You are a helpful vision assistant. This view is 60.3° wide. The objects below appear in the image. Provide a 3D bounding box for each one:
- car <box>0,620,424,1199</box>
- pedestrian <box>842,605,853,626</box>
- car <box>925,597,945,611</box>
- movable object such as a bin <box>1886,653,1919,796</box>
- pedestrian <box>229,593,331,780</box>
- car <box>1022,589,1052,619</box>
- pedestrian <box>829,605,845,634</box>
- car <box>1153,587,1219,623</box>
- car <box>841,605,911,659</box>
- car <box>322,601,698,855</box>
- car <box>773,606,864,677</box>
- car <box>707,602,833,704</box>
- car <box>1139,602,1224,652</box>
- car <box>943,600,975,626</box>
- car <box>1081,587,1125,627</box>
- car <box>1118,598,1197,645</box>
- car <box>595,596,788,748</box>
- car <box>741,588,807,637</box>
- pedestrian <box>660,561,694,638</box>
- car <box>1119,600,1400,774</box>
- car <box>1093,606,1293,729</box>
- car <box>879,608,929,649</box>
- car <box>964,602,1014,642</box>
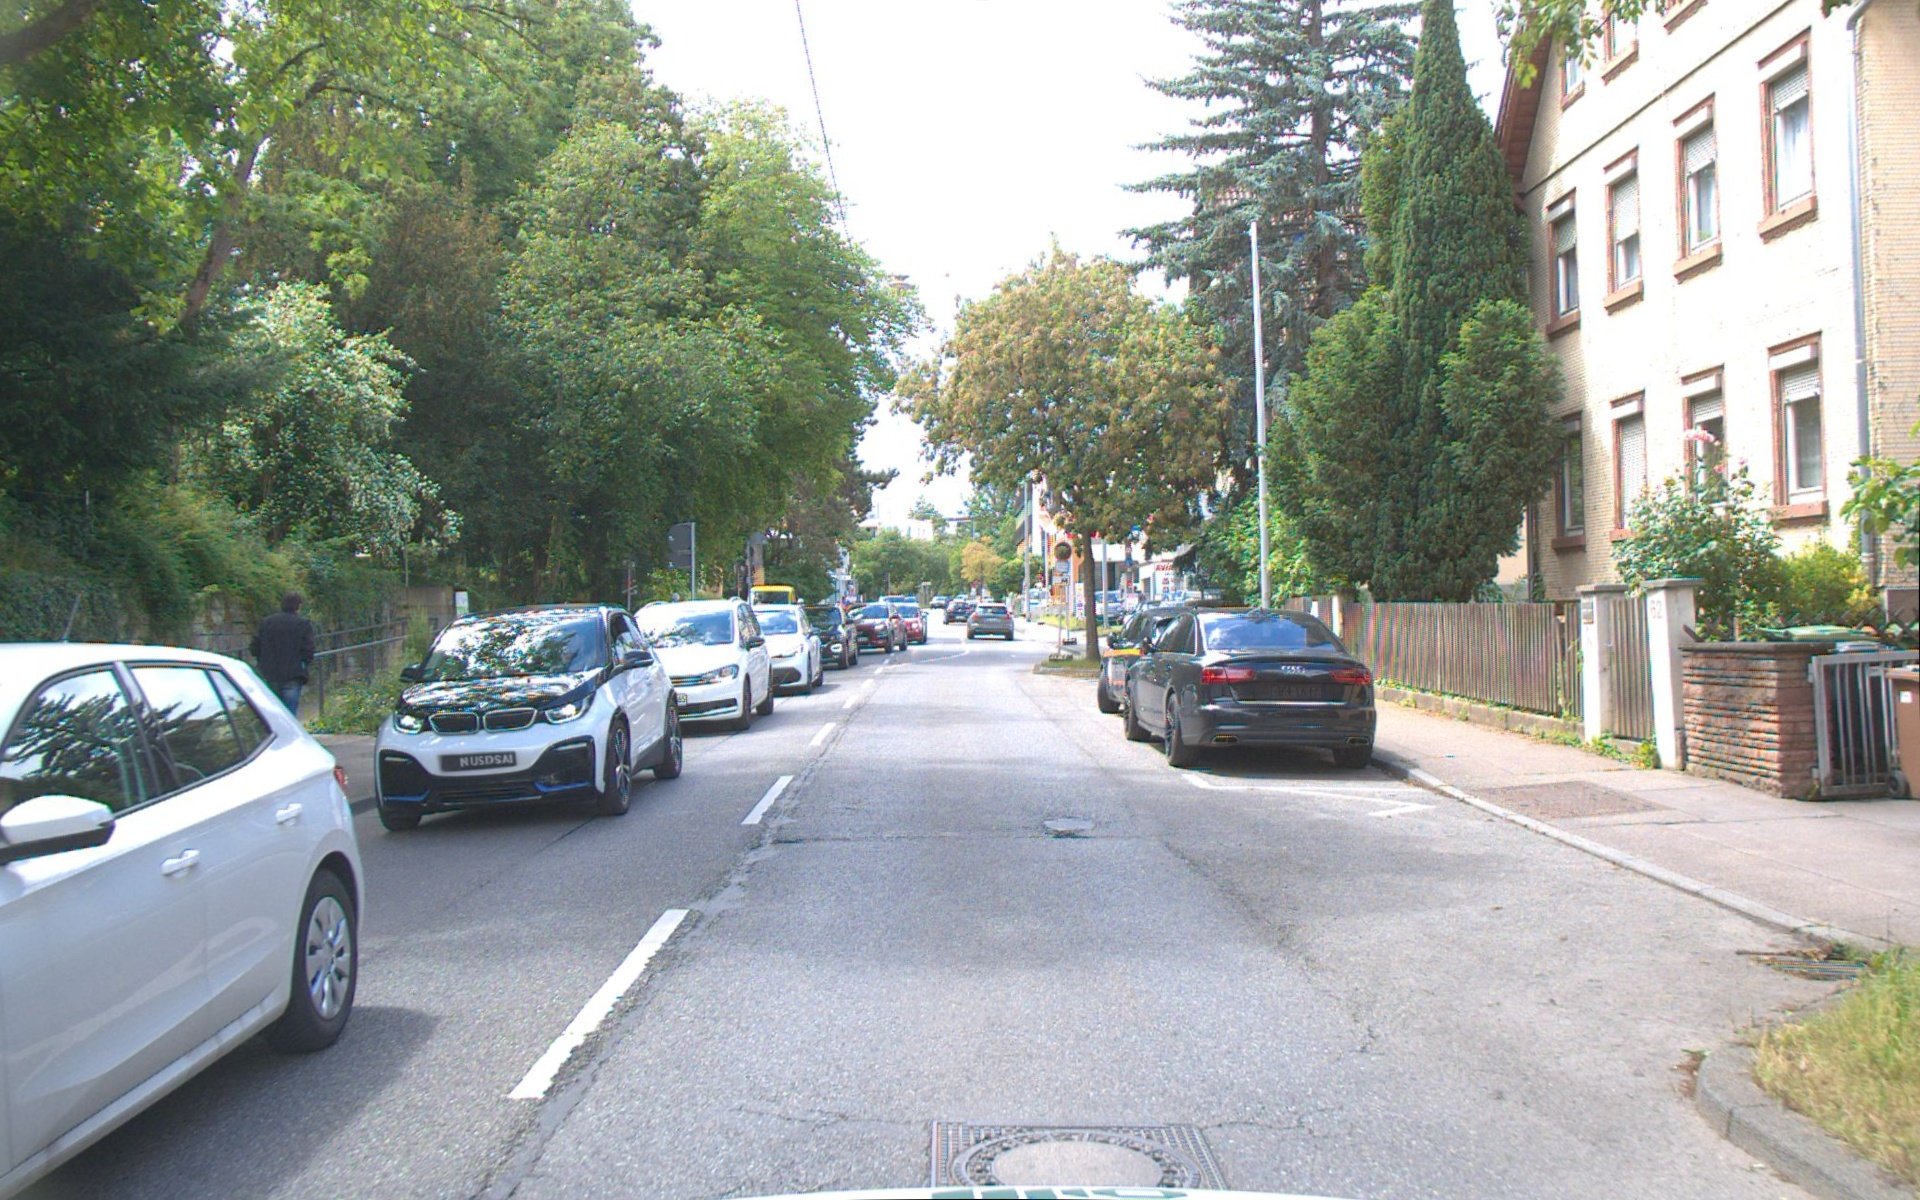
[{"bbox_3d":[-2.946,0.866,4.435,1.724,1.464,3.969,-3,0,-1],"label":"car"},{"bbox_3d":[-8.170,1.115,119.705,0.690,1.465,0.714,-1,-1,3],"label":"pedestrian"},{"bbox_3d":[-2.877,0.481,193.005,2.067,1.527,4.267,-2,0,1],"label":"car"},{"bbox_3d":[6.836,0.856,11.474,0.497,0.951,0.520,-3,2,-2],"label":"movable object such as a bin"},{"bbox_3d":[-6.388,0.795,15.573,0.640,1.696,0.930,-1,-1,-6],"label":"pedestrian"},{"bbox_3d":[5.415,0.318,116.533,1.952,2.049,4.000,-1,-1,1],"label":"car"},{"bbox_3d":[-6.154,0.979,82.977,0.692,1.465,0.711,-1,-1,-12],"label":"pedestrian"},{"bbox_3d":[9.170,0.190,67.360,1.806,1.379,4.064,-2,0,-5],"label":"car"},{"bbox_3d":[-2.645,0.984,53.032,1.725,1.560,4.098,-3,0,3],"label":"car"},{"bbox_3d":[-3.401,0.879,13.375,1.889,1.573,4.085,-5,0,-1],"label":"car"},{"bbox_3d":[-3.445,0.977,40.921,1.752,1.568,4.264,-3,0,1],"label":"car"},{"bbox_3d":[-3.345,0.889,29.825,1.749,1.619,4.153,-3,0,-1],"label":"car"},{"bbox_3d":[6.385,0.755,48.047,1.690,1.339,4.264,-1,0,-3],"label":"car"},{"bbox_3d":[-0.088,0.792,103.121,1.780,1.527,4.264,0,0,-3],"label":"car"},{"bbox_3d":[6.688,0.313,77.465,1.747,1.663,3.693,-5,0,2],"label":"car"},{"bbox_3d":[6.300,0.664,53.098,1.689,1.387,4.481,-2,0,-4],"label":"car"},{"bbox_3d":[-3.382,0.842,21.617,1.750,1.676,4.490,-3,0,-1],"label":"car"},{"bbox_3d":[-7.958,0.563,71.081,2.101,2.015,4.931,-1,-1,1],"label":"car"},{"bbox_3d":[-6.695,-0.006,39.134,0.700,1.793,1.120,-1,-1,-6],"label":"pedestrian"},{"bbox_3d":[2.798,0.751,16.573,1.765,1.470,4.885,1,0,-2],"label":"car"},{"bbox_3d":[2.947,0.808,21.858,1.788,1.442,4.506,0,0,-3],"label":"car"},{"bbox_3d":[-2.044,1.042,61.245,1.656,1.450,3.437,-1,-1,0],"label":"car"},{"bbox_3d":[1.216,0.867,67.823,1.935,1.539,4.267,2,0,1],"label":"car"}]
